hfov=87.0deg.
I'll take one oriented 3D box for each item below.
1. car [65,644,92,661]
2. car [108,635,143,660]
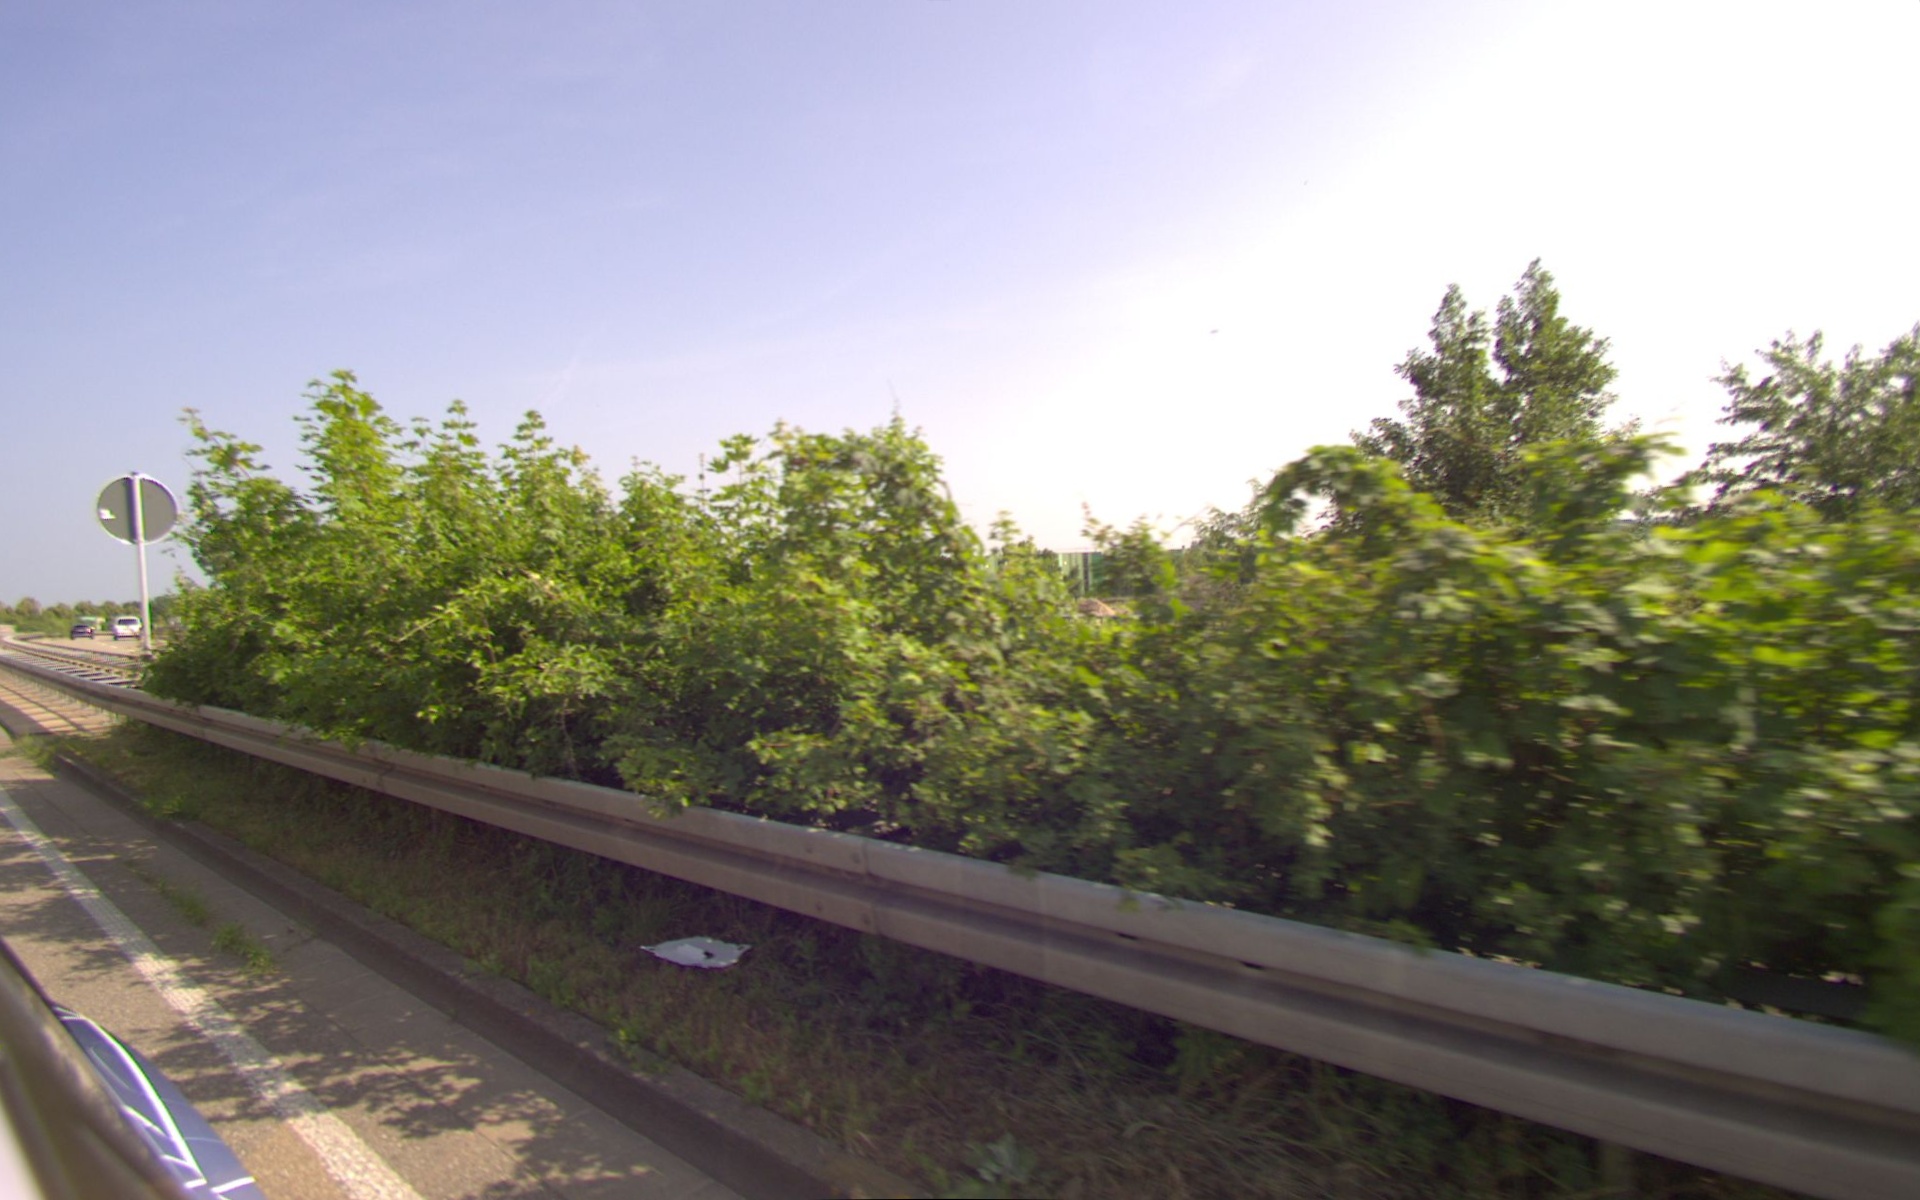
[{"bbox_3d":[-95.098,5.632,109.235,1.841,1.619,4.427,-2,0,-37],"label":"car"},{"bbox_3d":[-72.819,4.085,88.281,2.014,2.021,5.313,-2,0,-43],"label":"car"}]
